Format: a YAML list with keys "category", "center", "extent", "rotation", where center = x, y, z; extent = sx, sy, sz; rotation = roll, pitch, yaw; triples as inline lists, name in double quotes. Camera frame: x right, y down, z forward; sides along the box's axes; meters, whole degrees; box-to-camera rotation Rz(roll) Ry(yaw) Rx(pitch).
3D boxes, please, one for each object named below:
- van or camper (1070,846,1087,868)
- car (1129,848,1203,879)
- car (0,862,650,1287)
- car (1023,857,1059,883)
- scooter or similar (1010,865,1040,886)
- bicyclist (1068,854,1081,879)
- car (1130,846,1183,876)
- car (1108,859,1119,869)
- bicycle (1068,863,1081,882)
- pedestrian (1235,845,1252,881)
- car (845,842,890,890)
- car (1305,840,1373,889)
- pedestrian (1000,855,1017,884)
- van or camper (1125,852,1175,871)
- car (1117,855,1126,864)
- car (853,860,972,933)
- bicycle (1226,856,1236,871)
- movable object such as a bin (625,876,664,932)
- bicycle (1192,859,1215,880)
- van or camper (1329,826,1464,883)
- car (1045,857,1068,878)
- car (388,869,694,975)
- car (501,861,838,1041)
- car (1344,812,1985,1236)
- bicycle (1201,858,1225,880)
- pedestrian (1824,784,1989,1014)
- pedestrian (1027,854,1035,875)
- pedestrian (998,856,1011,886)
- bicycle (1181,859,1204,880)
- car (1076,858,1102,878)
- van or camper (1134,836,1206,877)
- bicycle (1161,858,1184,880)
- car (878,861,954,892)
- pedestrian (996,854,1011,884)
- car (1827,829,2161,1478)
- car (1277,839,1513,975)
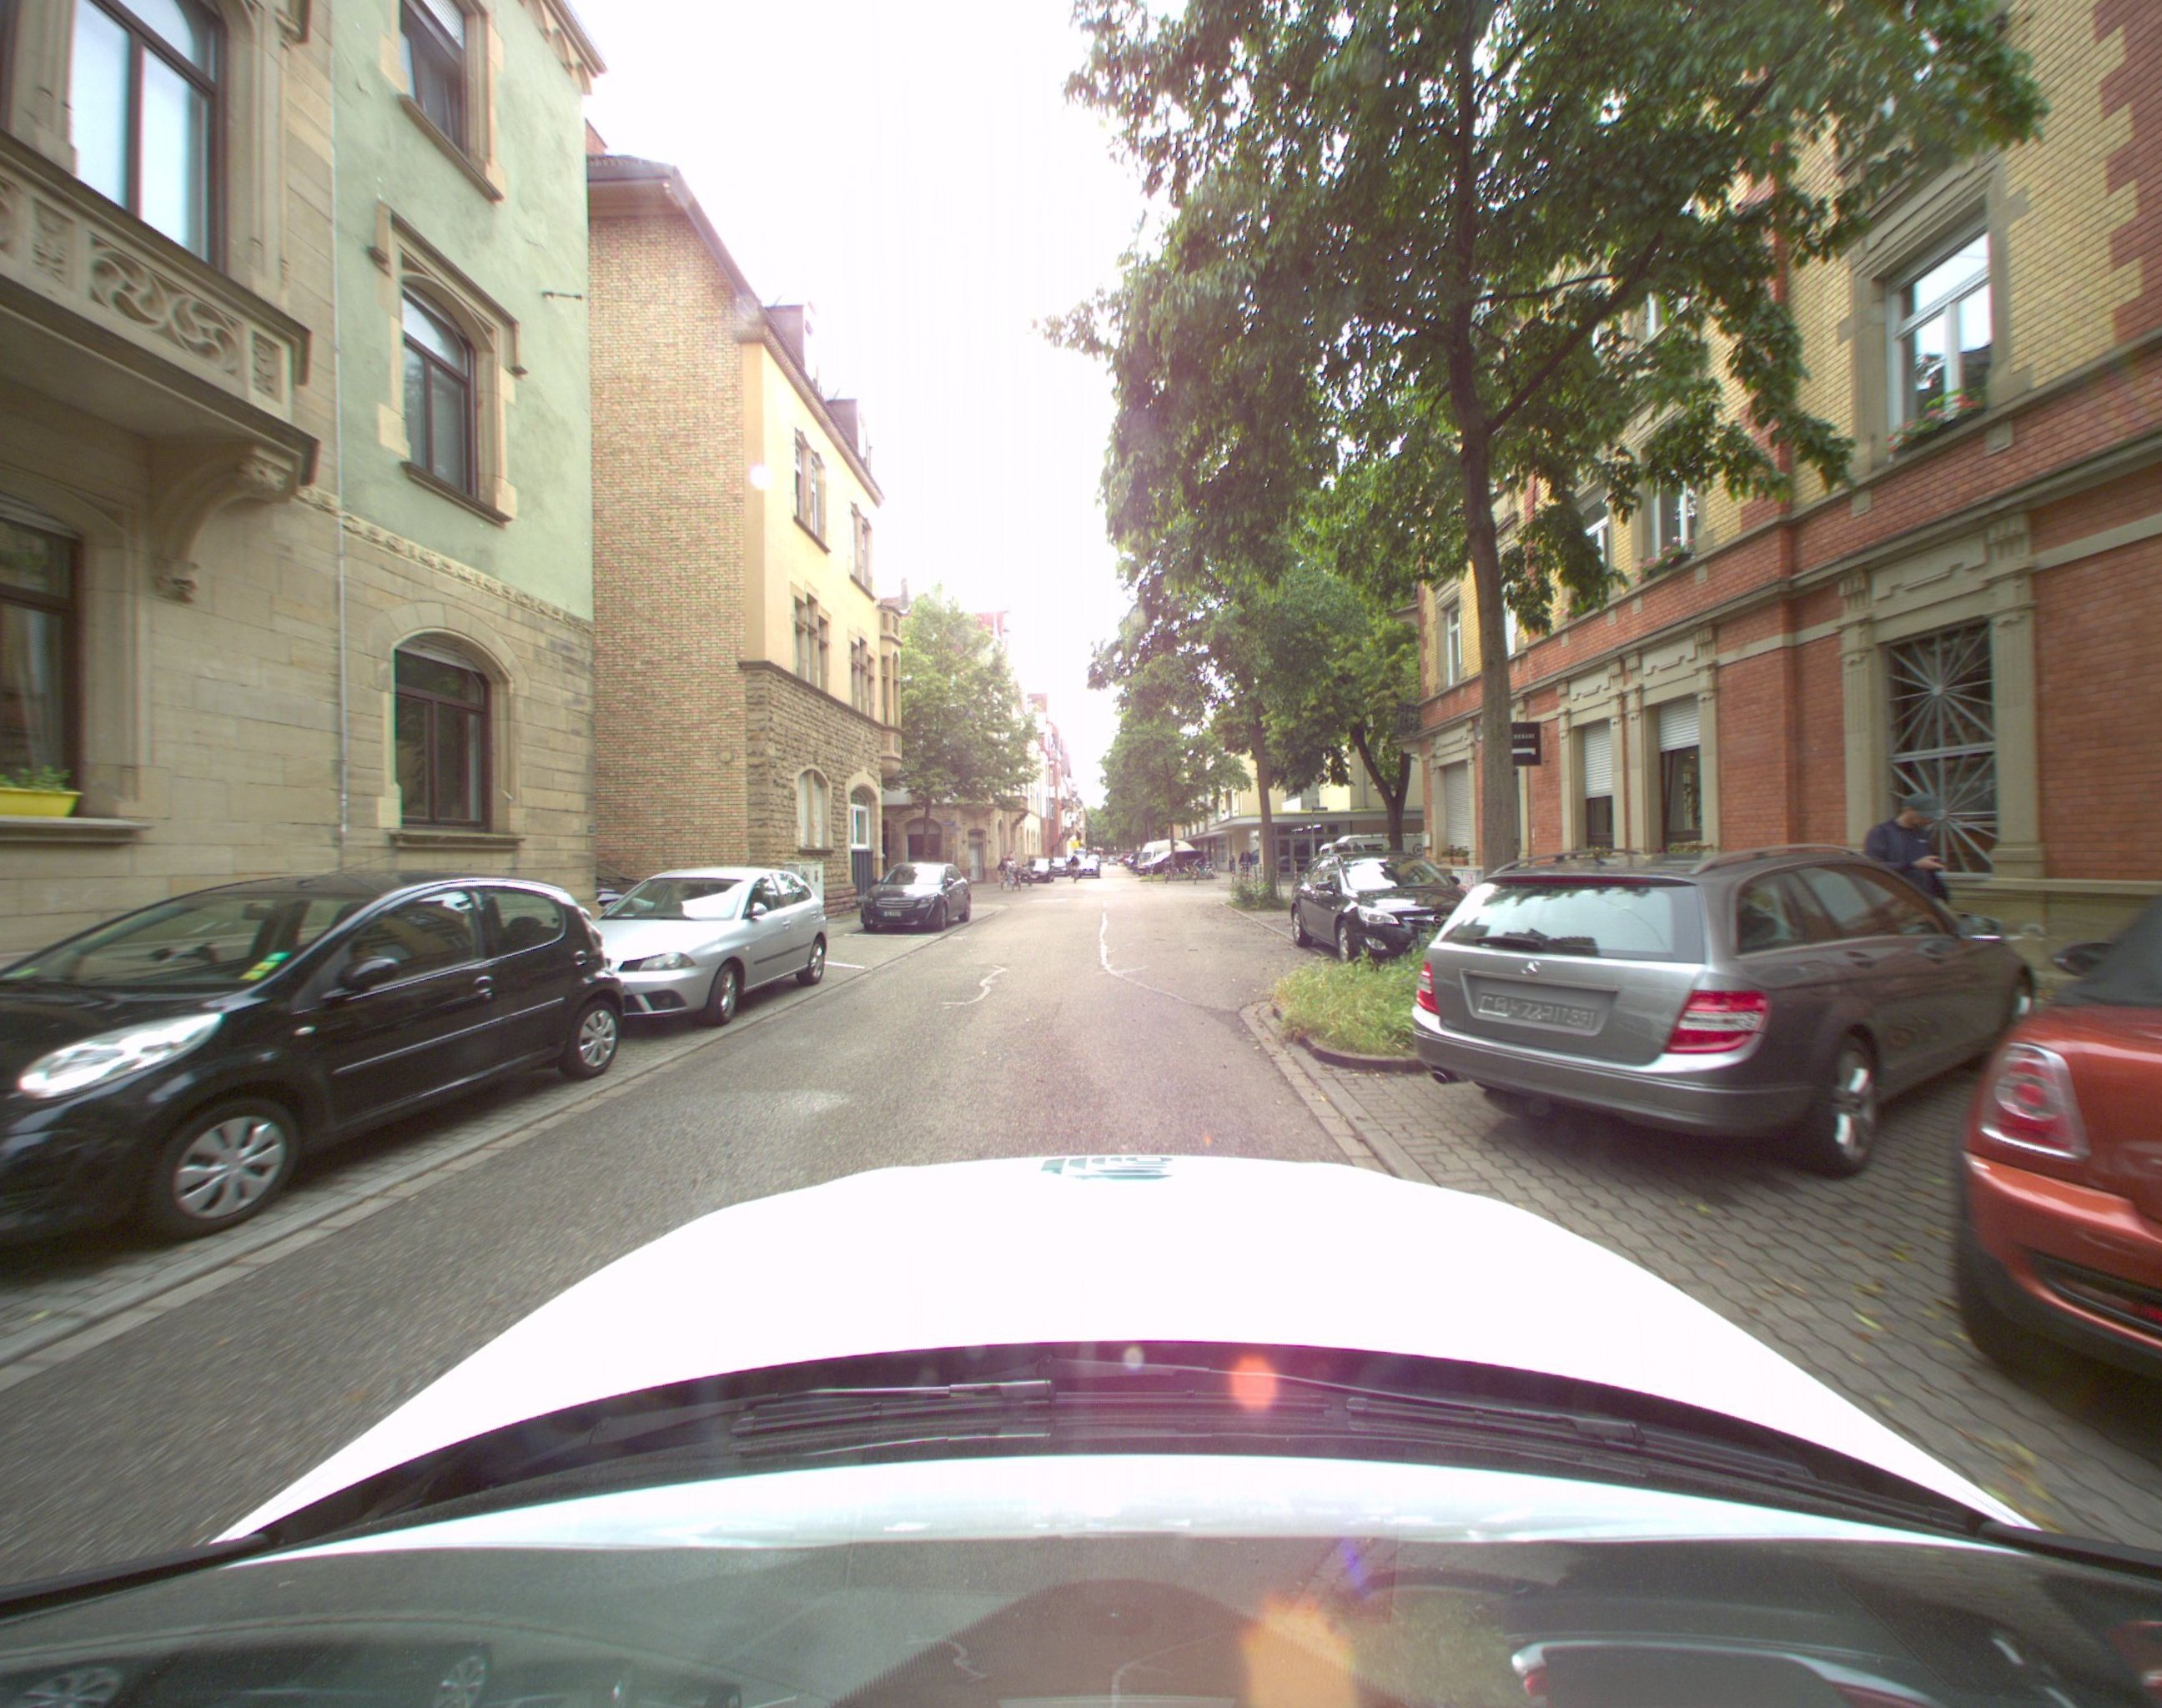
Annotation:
- category: "van or camper"
  center: [-0.317, 0.393, 110.452]
  extent: [2.000, 2.651, 5.320]
  rotation: [-2, 2, 2]
- category: "car"
  center: [5.429, 0.601, 51.962]
  extent: [4.351, 1.854, 1.896]
  rotation: [-2, 0, -23]
- category: "car"
  center: [-4.181, 0.787, 4.601]
  extent: [1.511, 1.434, 3.458]
  rotation: [0, 0, 3]
- category: "car"
  center: [-2.387, 0.998, 49.418]
  extent: [1.702, 1.495, 4.003]
  rotation: [0, -1, 4]
- category: "scooter or similar"
  center: [-3.052, 1.160, 44.563]
  extent: [1.459, 1.104, 0.678]
  rotation: [1, 0, 13]
- category: "bicyclist"
  center: [-0.406, 0.760, 49.718]
  extent: [0.645, 1.538, 0.677]
  rotation: [-2, -1, 4]
- category: "car"
  center: [5.952, 0.494, 63.719]
  extent: [2.040, 2.196, 4.427]
  rotation: [-2, 0, 36]
- category: "car"
  center: [5.934, 1.813, 148.648]
  extent: [1.985, 1.794, 4.003]
  rotation: [0, -1, 3]
- category: "bicycle"
  center: [-0.392, 1.121, 49.726]
  extent: [0.631, 1.094, 1.801]
  rotation: [-1, -1, 4]
- category: "pedestrian"
  center: [8.300, 0.449, 41.538]
  extent: [0.775, 1.797, 0.510]
  rotation: [-1, 0, 4]
- category: "car"
  center: [-9.519, 0.516, 36.490]
  extent: [1.830, 1.968, 3.943]
  rotation: [-1, 0, -14]
- category: "car"
  center: [10.474, 0.415, 33.360]
  extent: [1.762, 1.819, 4.005]
  rotation: [-2, 0, 5]
- category: "pedestrian"
  center: [-4.076, 0.867, 45.890]
  extent: [0.623, 1.593, 0.674]
  rotation: [-1, 0, 43]
- category: "van or camper"
  center: [7.594, 0.820, 89.330]
  extent: [5.032, 1.869, 2.109]
  rotation: [-3, -1, -26]
- category: "car"
  center: [9.588, 1.346, 193.516]
  extent: [1.986, 2.013, 4.002]
  rotation: [2, 0, 2]
- category: "car"
  center: [-3.671, 0.871, 18.424]
  extent: [1.720, 1.434, 3.884]
  rotation: [0, 0, 3]
- category: "bicycle"
  center: [10.739, 0.670, 58.455]
  extent: [0.482, 1.090, 1.703]
  rotation: [-1, 0, 4]
- category: "movable object such as a bin"
  center: [-8.525, 0.965, 15.910]
  extent: [0.437, 1.062, 0.552]
  rotation: [-1, 0, 2]
- category: "bicycle"
  center: [6.905, 0.865, 46.064]
  extent: [0.550, 1.173, 1.717]
  rotation: [-1, 0, -19]
- category: "van or camper"
  center: [15.135, 0.019, 39.328]
  extent: [5.737, 2.494, 2.142]
  rotation: [-2, 3, 9]
- category: "car"
  center: [-1.921, 1.025, 64.425]
  extent: [1.640, 1.570, 2.958]
  rotation: [0, 1, 1]
- category: "car"
  center: [-8.985, 1.097, 13.774]
  extent: [3.971, 1.564, 1.769]
  rotation: [-1, 0, 2]
- category: "car"
  center: [-3.990, 0.822, 8.676]
  extent: [1.583, 1.434, 3.810]
  rotation: [0, 0, 1]
- category: "car"
  center: [3.747, 0.571, 4.908]
  extent: [4.465, 1.427, 1.739]
  rotation: [-3, 0, -36]
- category: "bicycle"
  center: [7.500, 0.840, 46.357]
  extent: [0.550, 1.173, 1.686]
  rotation: [-1, 0, -19]
- category: "pedestrian"
  center: [6.590, 0.344, 6.534]
  extent: [0.595, 1.733, 0.663]
  rotation: [-2, 0, 1]
- category: "pedestrian"
  center: [-3.730, 0.792, 60.676]
  extent: [0.513, 1.518, 0.547]
  rotation: [-1, 0, 2]
- category: "pedestrian"
  center: [-4.173, 0.905, 44.482]
  extent: [0.524, 1.643, 0.530]
  rotation: [0, 0, 14]
- category: "bicycle"
  center: [6.249, 0.858, 45.854]
  extent: [0.550, 1.173, 1.717]
  rotation: [-1, 0, -19]
- category: "car"
  center: [0.639, 1.040, 60.639]
  extent: [1.701, 1.413, 3.855]
  rotation: [-2, -1, 3]
- category: "van or camper"
  center: [6.010, 0.178, 54.929]
  extent: [4.611, 2.596, 1.892]
  rotation: [-2, 0, -31]
- category: "bicycle"
  center: [5.053, 0.839, 45.228]
  extent: [0.550, 1.173, 1.717]
  rotation: [-1, 0, -19]
- category: "car"
  center: [-8.776, 1.195, 43.377]
  extent: [3.545, 1.460, 1.655]
  rotation: [-2, 1, 11]
- category: "pedestrian"
  center: [-4.278, 0.823, 45.104]
  extent: [0.612, 1.643, 0.606]
  rotation: [-1, 0, 14]
- category: "car"
  center: [4.231, 0.626, 2.471]
  extent: [3.894, 1.435, 1.730]
  rotation: [-1, 0, -29]
- category: "car"
  center: [4.198, 0.625, 11.739]
  extent: [1.757, 1.486, 4.482]
  rotation: [-3, 0, 2]
